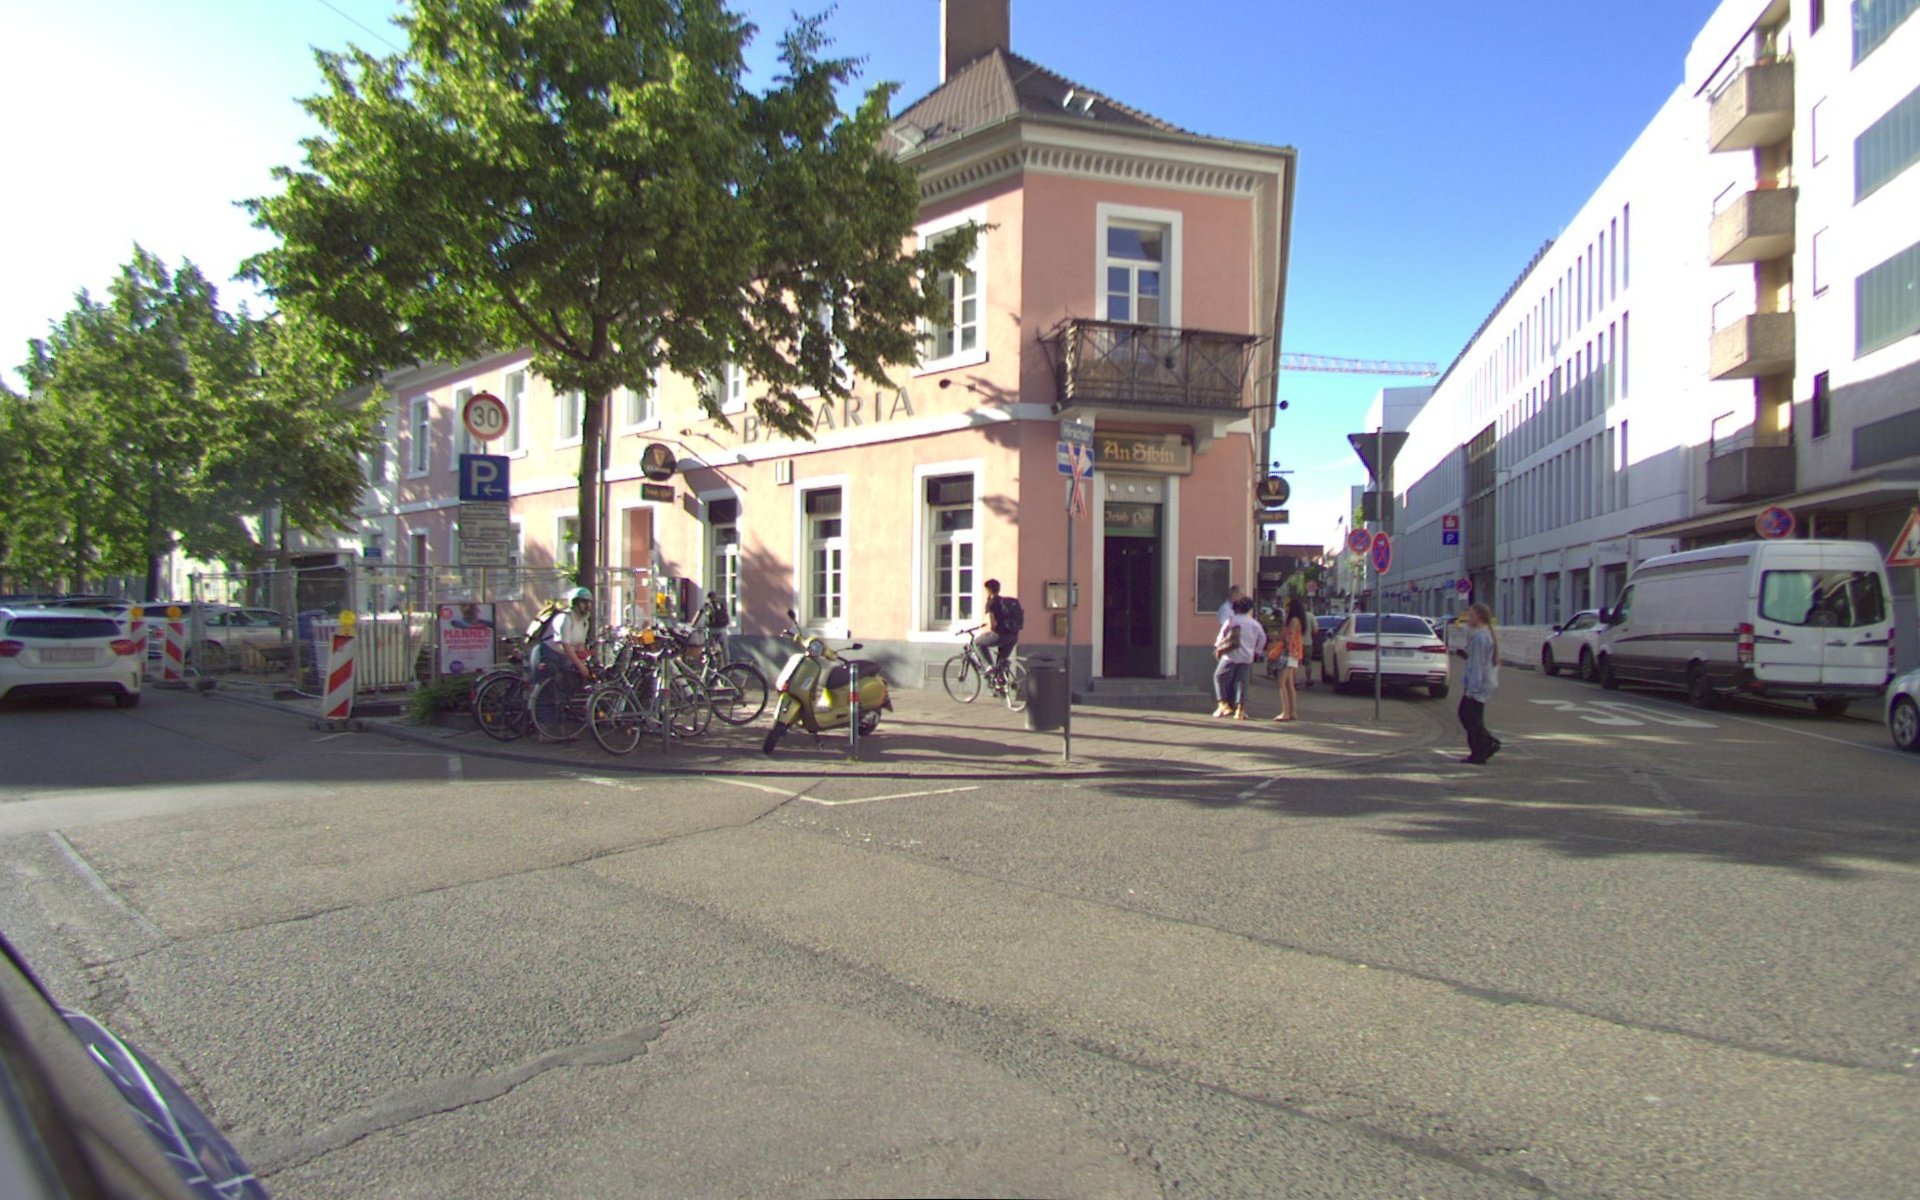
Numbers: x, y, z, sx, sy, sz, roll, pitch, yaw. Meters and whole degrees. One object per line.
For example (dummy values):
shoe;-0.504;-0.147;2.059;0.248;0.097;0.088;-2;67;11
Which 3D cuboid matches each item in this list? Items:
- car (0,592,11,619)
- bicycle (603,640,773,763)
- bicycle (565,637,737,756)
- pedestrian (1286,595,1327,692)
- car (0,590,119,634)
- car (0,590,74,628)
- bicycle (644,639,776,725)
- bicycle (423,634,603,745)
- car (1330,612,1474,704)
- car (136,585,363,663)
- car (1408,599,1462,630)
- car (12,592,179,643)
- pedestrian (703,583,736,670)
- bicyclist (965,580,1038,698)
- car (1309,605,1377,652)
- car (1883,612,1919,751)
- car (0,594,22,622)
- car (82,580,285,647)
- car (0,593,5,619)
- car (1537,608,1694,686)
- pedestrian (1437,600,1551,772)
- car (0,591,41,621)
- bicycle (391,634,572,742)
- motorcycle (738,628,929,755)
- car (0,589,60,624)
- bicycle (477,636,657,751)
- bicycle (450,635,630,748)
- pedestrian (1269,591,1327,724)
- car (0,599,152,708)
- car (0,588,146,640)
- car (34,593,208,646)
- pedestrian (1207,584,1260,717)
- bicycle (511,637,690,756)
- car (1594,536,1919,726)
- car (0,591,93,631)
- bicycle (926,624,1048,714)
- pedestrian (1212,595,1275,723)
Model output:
car;-67.317;0.385;68.679;1.910;1.816;4.082;0;0;40
bicycle;-2.728;0.979;10.396;0.471;1.037;1.987;0;1;28
bicycle;-3.191;0.958;10.666;0.471;1.037;1.987;0;1;28
pedestrian;6.424;0.793;18.761;0.701;1.764;0.631;0;-1;18
car;-38.763;0.493;43.267;1.910;1.816;4.082;0;0;40
car;-46.686;0.444;50.068;1.910;1.816;4.082;0;0;40
bicycle;-2.941;0.957;11.980;1.493;0.958;0.360;-1;1;-8
bicycle;-4.951;0.953;11.360;0.471;1.037;1.987;0;1;28
car;7.957;0.977;18.567;1.983;1.488;3.583;0;-1;17
car;-16.922;0.527;24.237;1.998;1.693;4.082;0;0;40
car;22.356;0.671;47.738;1.765;1.406;3.493;0;-1;17
car;-29.336;0.555;34.445;1.910;1.606;4.082;0;0;40
pedestrian;-4.869;0.535;20.488;0.509;1.740;0.526;1;-1;-32
bicyclist;0.555;0.502;13.610;0.751;1.515;0.563;2;1;41
car;12.140;0.873;32.224;1.765;1.406;3.493;0;-1;17
car;10.802;0.854;9.454;1.889;1.488;3.581;0;-1;18
car;-61.833;0.498;63.552;1.910;1.816;4.082;0;0;40
car;-21.134;0.337;27.666;1.998;1.693;4.082;0;0;40
car;-69.810;0.410;70.858;1.910;1.816;4.082;0;0;40
car;15.160;1.029;23.654;1.886;1.656;3.770;0;-1;13
pedestrian;5.298;0.813;10.040;0.862;1.614;0.641;-1;0;41
car;-59.048;0.386;61.817;1.910;1.816;4.082;0;0;40
bicycle;-5.418;0.954;11.608;0.471;1.037;1.987;0;1;28
motorcycle;-1.286;0.900;10.662;0.740;1.194;1.977;0;-1;43
car;-49.544;0.328;52.474;1.910;1.816;4.082;0;0;40
bicycle;-4.178;0.955;10.937;0.471;1.037;1.987;0;1;28
bicycle;-4.559;0.950;11.140;0.471;1.037;1.987;0;1;28
pedestrian;4.571;0.756;13.672;0.579;1.740;0.622;0;-1;38
car;-13.565;0.735;14.980;3.831;1.429;1.811;0;-3;41
car;-33.171;0.500;37.748;1.910;1.816;4.082;0;0;40
car;-27.153;0.587;32.845;1.910;1.606;4.082;0;0;40
pedestrian;3.838;0.694;14.236;0.572;1.826;0.630;0;-1;2
bicycle;-3.734;0.964;10.703;0.471;1.037;1.987;0;1;28
car;13.194;0.464;17.208;2.204;2.601;6.475;0;-1;15
car;-43.127;0.497;47.019;1.910;1.816;4.082;0;0;40
bicycle;0.346;0.911;13.782;1.651;1.096;0.563;2;0;41
pedestrian;3.795;0.773;13.592;0.698;1.675;0.579;0;-1;4
